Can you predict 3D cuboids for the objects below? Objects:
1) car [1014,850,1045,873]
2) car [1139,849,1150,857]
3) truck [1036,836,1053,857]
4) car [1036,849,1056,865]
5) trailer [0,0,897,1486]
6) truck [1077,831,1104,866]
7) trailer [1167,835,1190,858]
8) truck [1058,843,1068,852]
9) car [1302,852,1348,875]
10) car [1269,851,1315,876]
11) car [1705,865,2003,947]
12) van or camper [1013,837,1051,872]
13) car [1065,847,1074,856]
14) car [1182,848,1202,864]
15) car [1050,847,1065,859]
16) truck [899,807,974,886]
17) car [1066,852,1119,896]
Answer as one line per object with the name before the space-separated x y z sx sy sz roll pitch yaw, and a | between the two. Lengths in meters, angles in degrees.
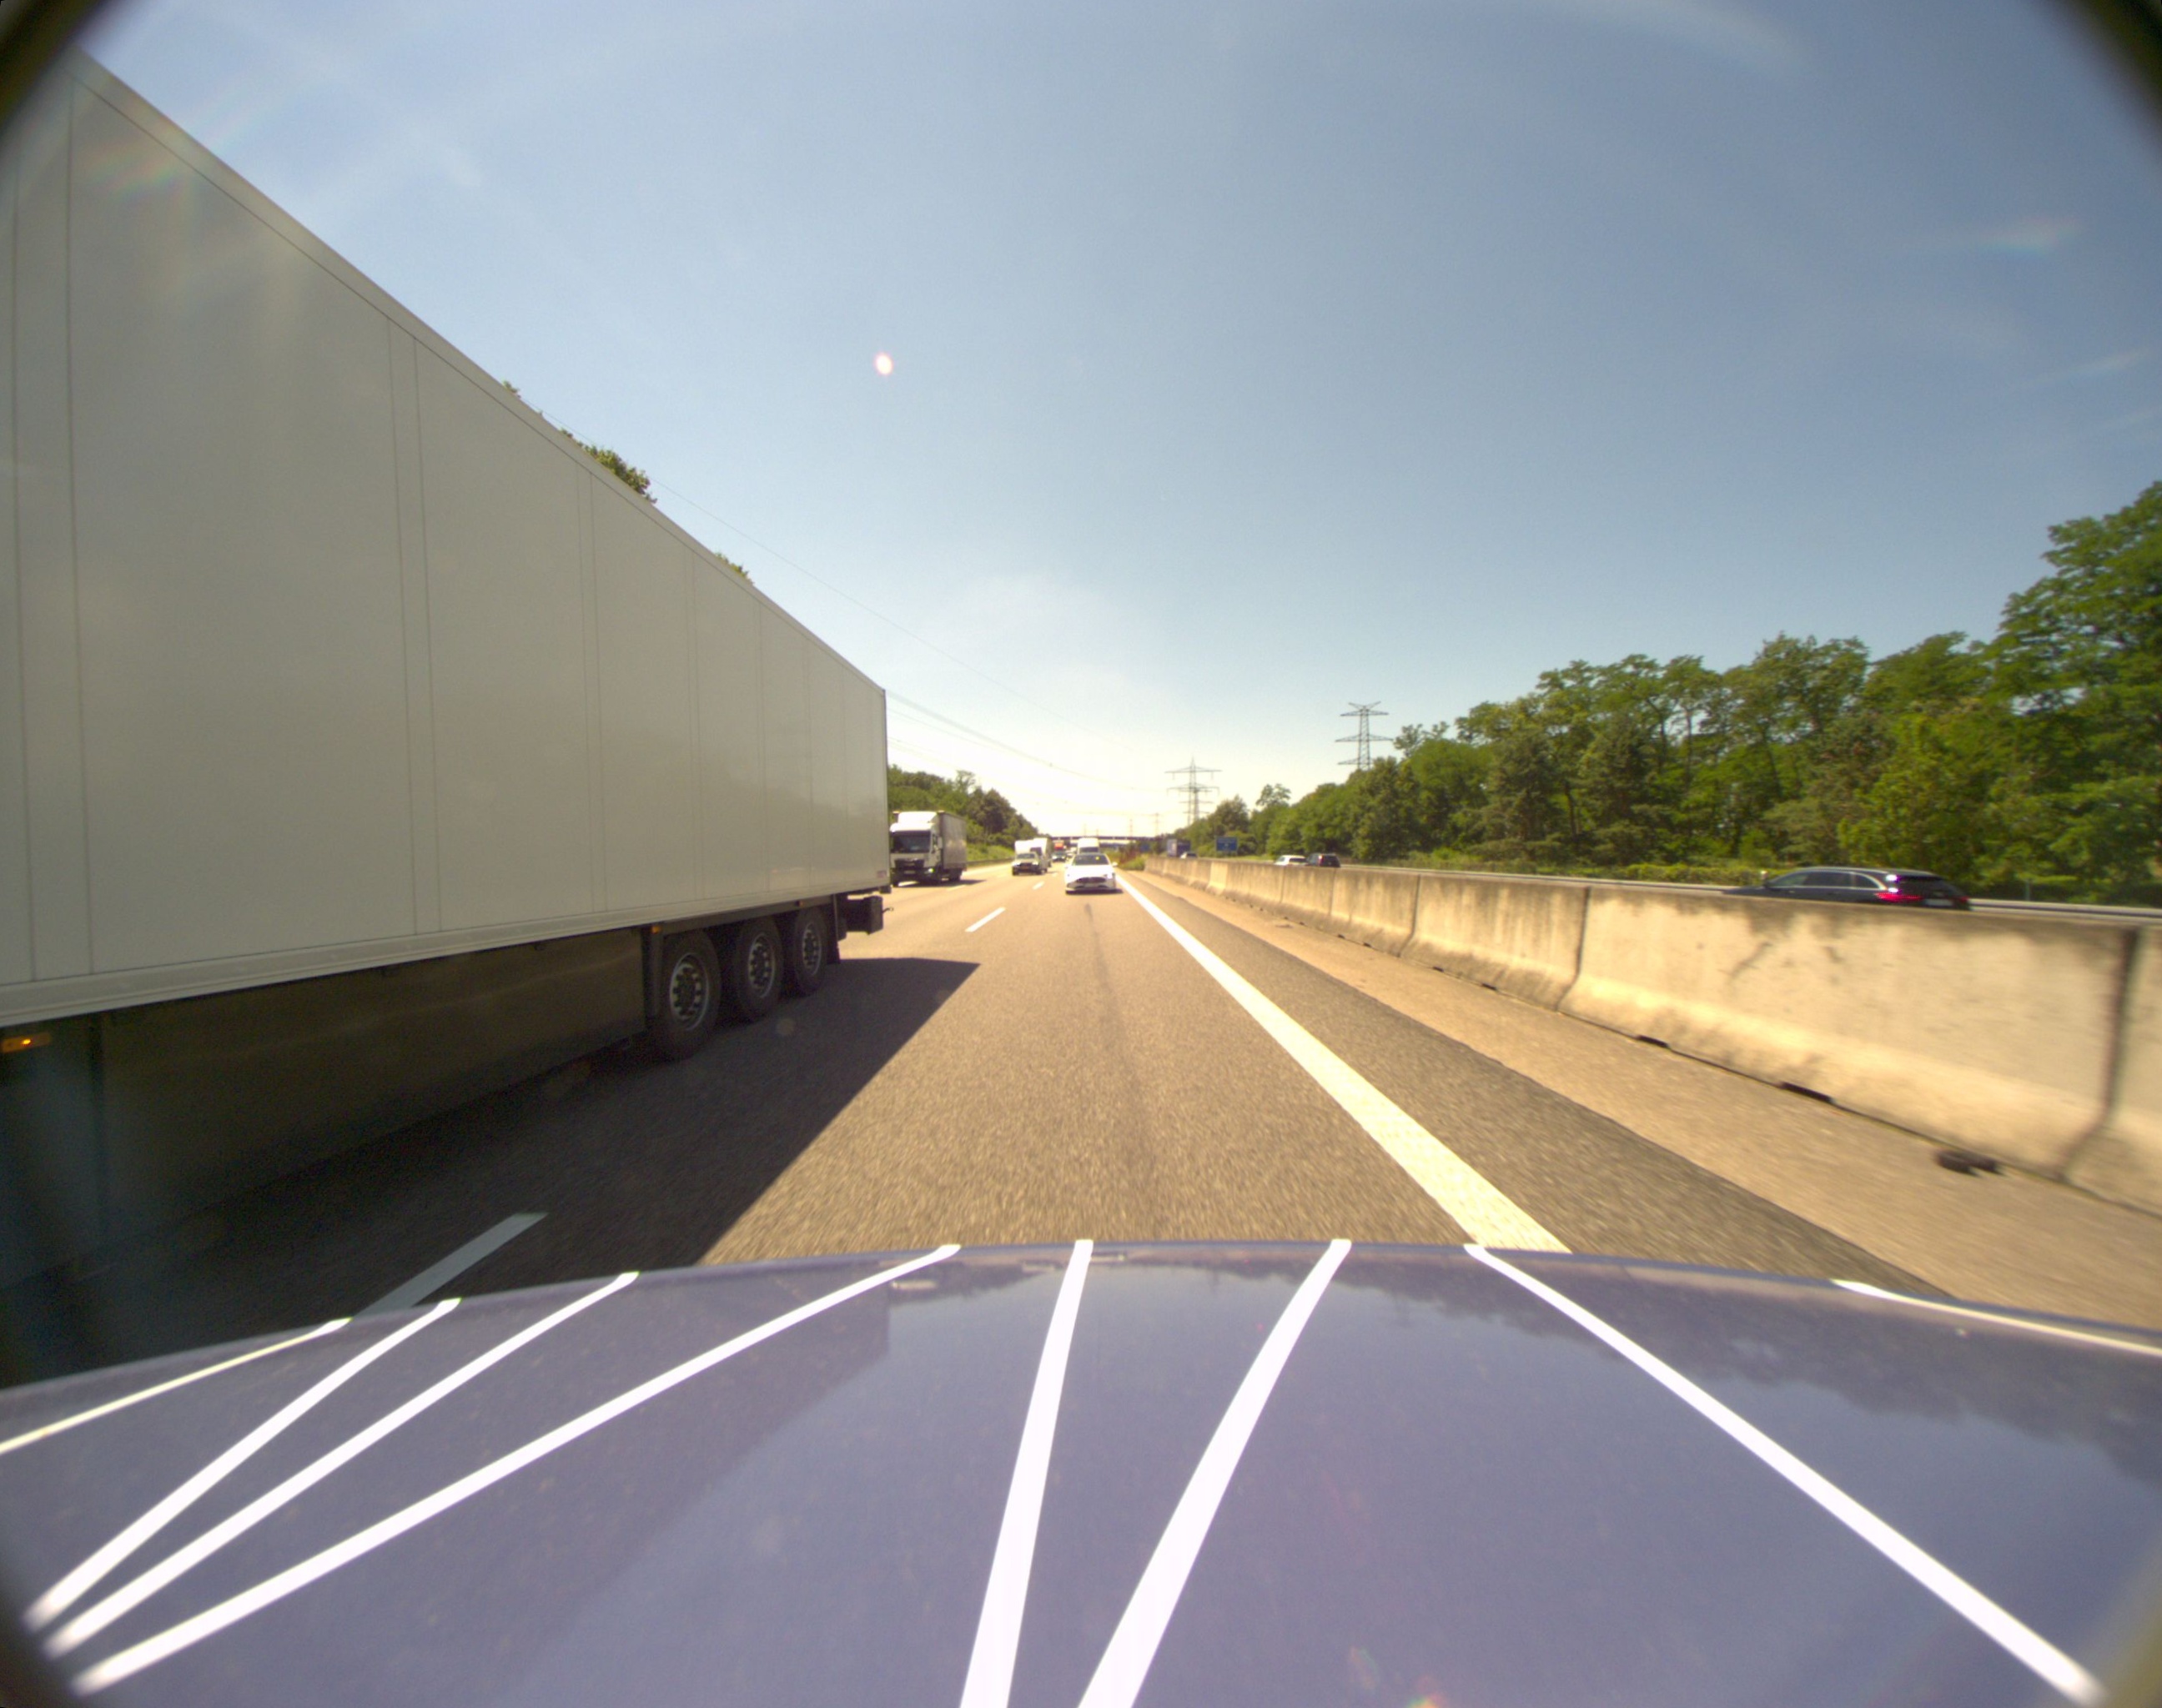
car | -3.564 0.507 53.104 1.788 1.520 4.104 -1 0 0
car | 12.684 -0.266 151.639 1.758 1.430 4.543 2 0 1
truck | -6.687 -1.431 139.049 2.584 3.704 8.279 -2 1 0
car | -3.505 0.271 76.080 1.803 1.533 3.806 0 0 0
trailer | -4.350 -0.314 3.218 2.945 3.995 16.198 -2 1 0
truck | 0.858 -0.482 67.683 2.192 2.841 5.503 -2 0 1
trailer | 18.339 -1.343 143.471 2.478 4.107 13.464 2 1 0
truck | -5.491 -1.994 231.991 2.619 2.801 6.593 0 0 0
car | 18.309 0.684 57.320 1.998 1.549 4.683 1 0 1
car | 13.983 0.622 50.585 1.778 1.529 4.683 1 0 1
car | 17.265 1.064 17.436 1.913 1.470 4.824 2 1 1
van or camper | -3.668 0.007 58.375 2.411 2.483 6.431 -1 0 0
car | -2.515 -0.542 165.871 1.998 2.002 4.000 0 1 1
car | 14.688 0.283 100.788 1.998 2.002 4.938 2 1 1
car | -3.383 -0.122 110.334 1.904 1.662 4.000 -1 0 0
truck | -7.620 -0.373 41.442 1.987 3.750 10.042 -1 0 1
car | 0.428 0.695 28.369 1.788 1.462 3.999 -2 1 0
